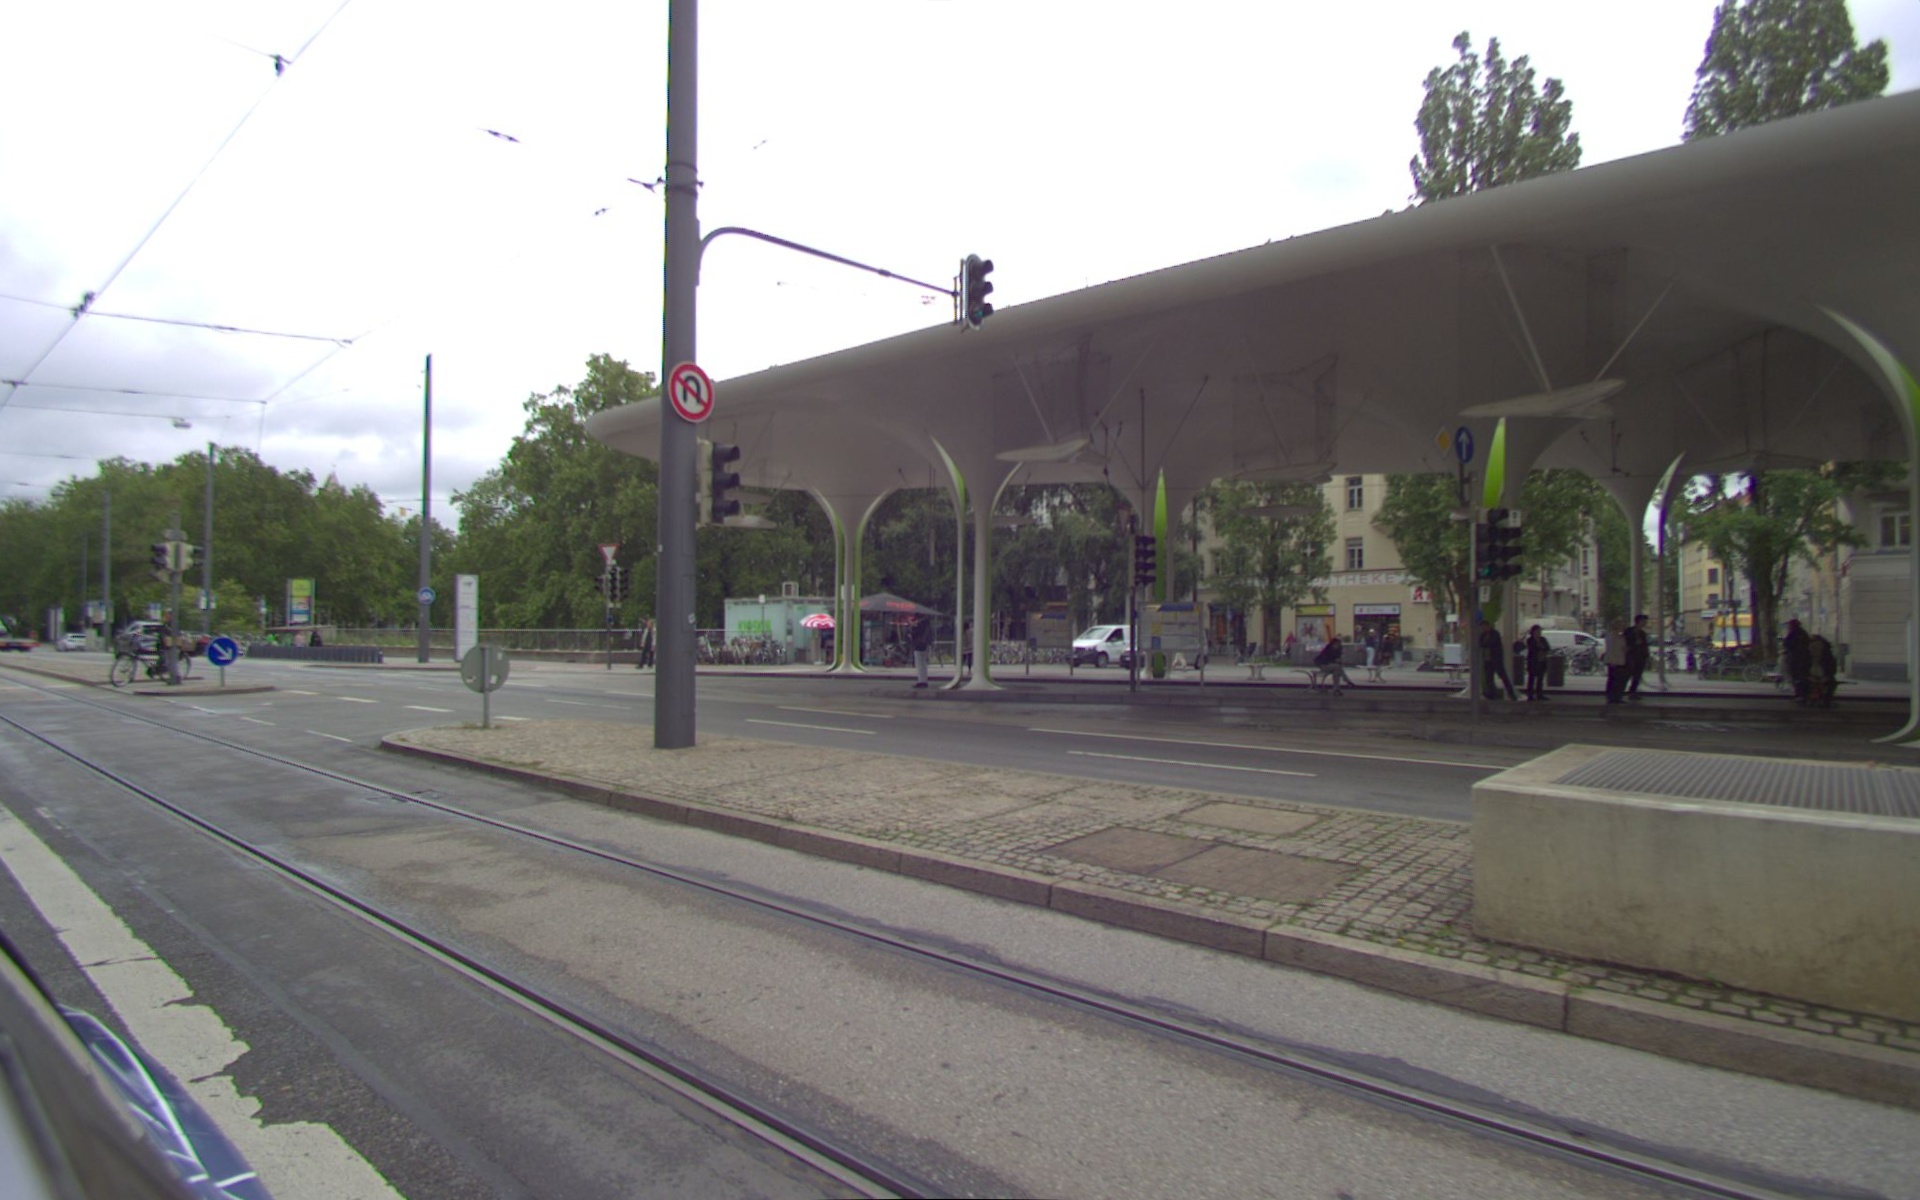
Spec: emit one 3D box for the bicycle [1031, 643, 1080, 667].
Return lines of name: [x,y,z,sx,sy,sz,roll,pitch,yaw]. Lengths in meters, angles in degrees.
bicycle: [4.640,2.683,49.515,2.523,1.138,0.635,-2,-3,42]

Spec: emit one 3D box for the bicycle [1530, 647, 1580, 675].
bicycle: [25.403,2.590,43.184,2.639,1.143,0.741,1,-2,-34]

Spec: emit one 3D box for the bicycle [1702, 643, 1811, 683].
bicycle: [28.540,2.227,36.319,0.828,1.324,2.949,1,-2,-35]

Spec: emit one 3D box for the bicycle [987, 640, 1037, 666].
bicycle: [2.407,2.472,47.406,2.523,1.138,0.635,-1,-2,42]

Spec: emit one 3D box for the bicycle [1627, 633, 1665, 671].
bicycle: [30.792,2.306,45.400,1.000,1.625,3.575,-2,-2,41]

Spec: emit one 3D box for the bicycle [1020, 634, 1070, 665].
bicycle: [4.109,2.392,49.084,2.562,1.432,0.627,-1,-2,42]

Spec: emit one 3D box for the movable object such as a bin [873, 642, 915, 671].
movable object such as a bin: [-2.574,2.192,39.548,0.957,1.092,1.318,-2,-2,43]

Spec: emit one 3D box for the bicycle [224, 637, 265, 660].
bicycle: [-37.807,2.529,53.467,0.560,1.181,1.675,-1,-2,31]

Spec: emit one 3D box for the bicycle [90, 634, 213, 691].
bicycle: [-18.054,1.363,22.671,0.503,1.159,2.215,0,0,22]

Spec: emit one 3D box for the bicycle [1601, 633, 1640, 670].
bicycle: [30.129,2.325,46.117,1.000,1.625,3.575,-2,-2,41]

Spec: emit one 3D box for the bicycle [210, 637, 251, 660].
bicycle: [-38.910,2.559,53.970,0.560,1.181,1.675,-1,-2,31]

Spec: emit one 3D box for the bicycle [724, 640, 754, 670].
bicycle: [-8.718,2.152,39.831,0.472,1.104,1.854,1,-2,-35]

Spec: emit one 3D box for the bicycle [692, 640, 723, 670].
bicycle: [-9.740,2.091,38.988,0.472,1.104,1.853,1,-2,-38]

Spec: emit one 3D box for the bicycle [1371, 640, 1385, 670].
bicycle: [20.699,2.710,50.065,0.295,1.407,1.126,-1,0,39]

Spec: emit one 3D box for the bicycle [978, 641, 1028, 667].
bicycle: [1.984,2.482,46.887,2.523,1.138,0.635,-1,-2,42]

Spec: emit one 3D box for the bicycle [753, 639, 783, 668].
bicycle: [-7.700,2.126,40.569,0.472,1.104,1.854,1,-2,-35]

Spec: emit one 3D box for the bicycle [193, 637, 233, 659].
bicycle: [-40.475,2.601,54.838,0.560,1.181,1.675,-1,-2,31]

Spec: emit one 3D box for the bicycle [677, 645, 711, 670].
bicycle: [-10.173,2.173,38.652,0.473,0.901,1.852,2,-2,-41]

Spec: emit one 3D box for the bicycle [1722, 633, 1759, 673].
bicycle: [33.311,2.238,43.176,1.000,1.625,3.575,-2,-2,41]

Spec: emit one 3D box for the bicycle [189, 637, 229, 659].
bicycle: [-40.934,2.613,55.200,0.504,1.181,1.674,-1,-2,33]

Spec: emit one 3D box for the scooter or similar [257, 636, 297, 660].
scooter or similar: [-34.735,2.446,51.491,0.558,1.181,1.681,-1,-2,22]

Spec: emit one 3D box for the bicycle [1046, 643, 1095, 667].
bicycle: [5.425,2.685,49.998,2.523,1.138,0.635,-1,-2,42]

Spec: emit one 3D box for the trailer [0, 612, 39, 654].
trailer: [-67.187,2.299,70.305,15.627,2.703,2.583,-2,-4,40]

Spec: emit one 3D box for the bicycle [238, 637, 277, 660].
bicycle: [-35.919,2.478,51.773,0.556,1.181,1.687,-1,-2,11]

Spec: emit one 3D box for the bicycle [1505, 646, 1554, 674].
bicycle: [24.721,2.609,43.935,2.639,1.143,0.741,1,-2,-34]

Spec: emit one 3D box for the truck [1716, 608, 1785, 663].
truck: [39.076,1.742,49.941,2.438,2.532,7.087,-2,-2,40]

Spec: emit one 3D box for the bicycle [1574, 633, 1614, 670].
bicycle: [29.361,2.346,46.827,1.000,1.625,3.575,-2,-2,41]

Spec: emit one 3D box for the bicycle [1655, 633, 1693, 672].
bicycle: [31.581,2.285,44.752,1.000,1.625,3.575,-2,-2,41]

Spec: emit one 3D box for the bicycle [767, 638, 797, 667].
bicycle: [-7.203,2.113,40.860,0.472,1.104,1.854,1,-2,-35]

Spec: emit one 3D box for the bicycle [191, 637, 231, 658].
bicycle: [-42.022,2.655,56.787,0.561,1.181,1.672,-2,-2,38]

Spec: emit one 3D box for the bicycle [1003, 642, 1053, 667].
bicycle: [3.215,2.571,48.129,2.523,1.138,0.635,-2,-2,42]

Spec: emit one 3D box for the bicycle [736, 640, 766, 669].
bicycle: [-8.316,2.142,40.159,0.472,1.104,1.854,1,-2,-35]

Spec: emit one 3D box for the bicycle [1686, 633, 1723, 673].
bicycle: [32.364,2.264,43.958,1.000,1.625,3.575,-2,-2,41]

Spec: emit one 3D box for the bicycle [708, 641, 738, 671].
bicycle: [-9.247,2.165,39.382,0.472,1.104,1.854,1,-2,-35]

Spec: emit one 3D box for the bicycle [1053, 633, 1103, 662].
bicycle: [5.865,2.347,50.419,2.562,1.432,0.627,-1,-2,42]

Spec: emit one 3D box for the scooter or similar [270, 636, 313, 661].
scooter or similar: [-33.070,2.401,50.085,0.561,1.181,1.671,-2,-2,39]
